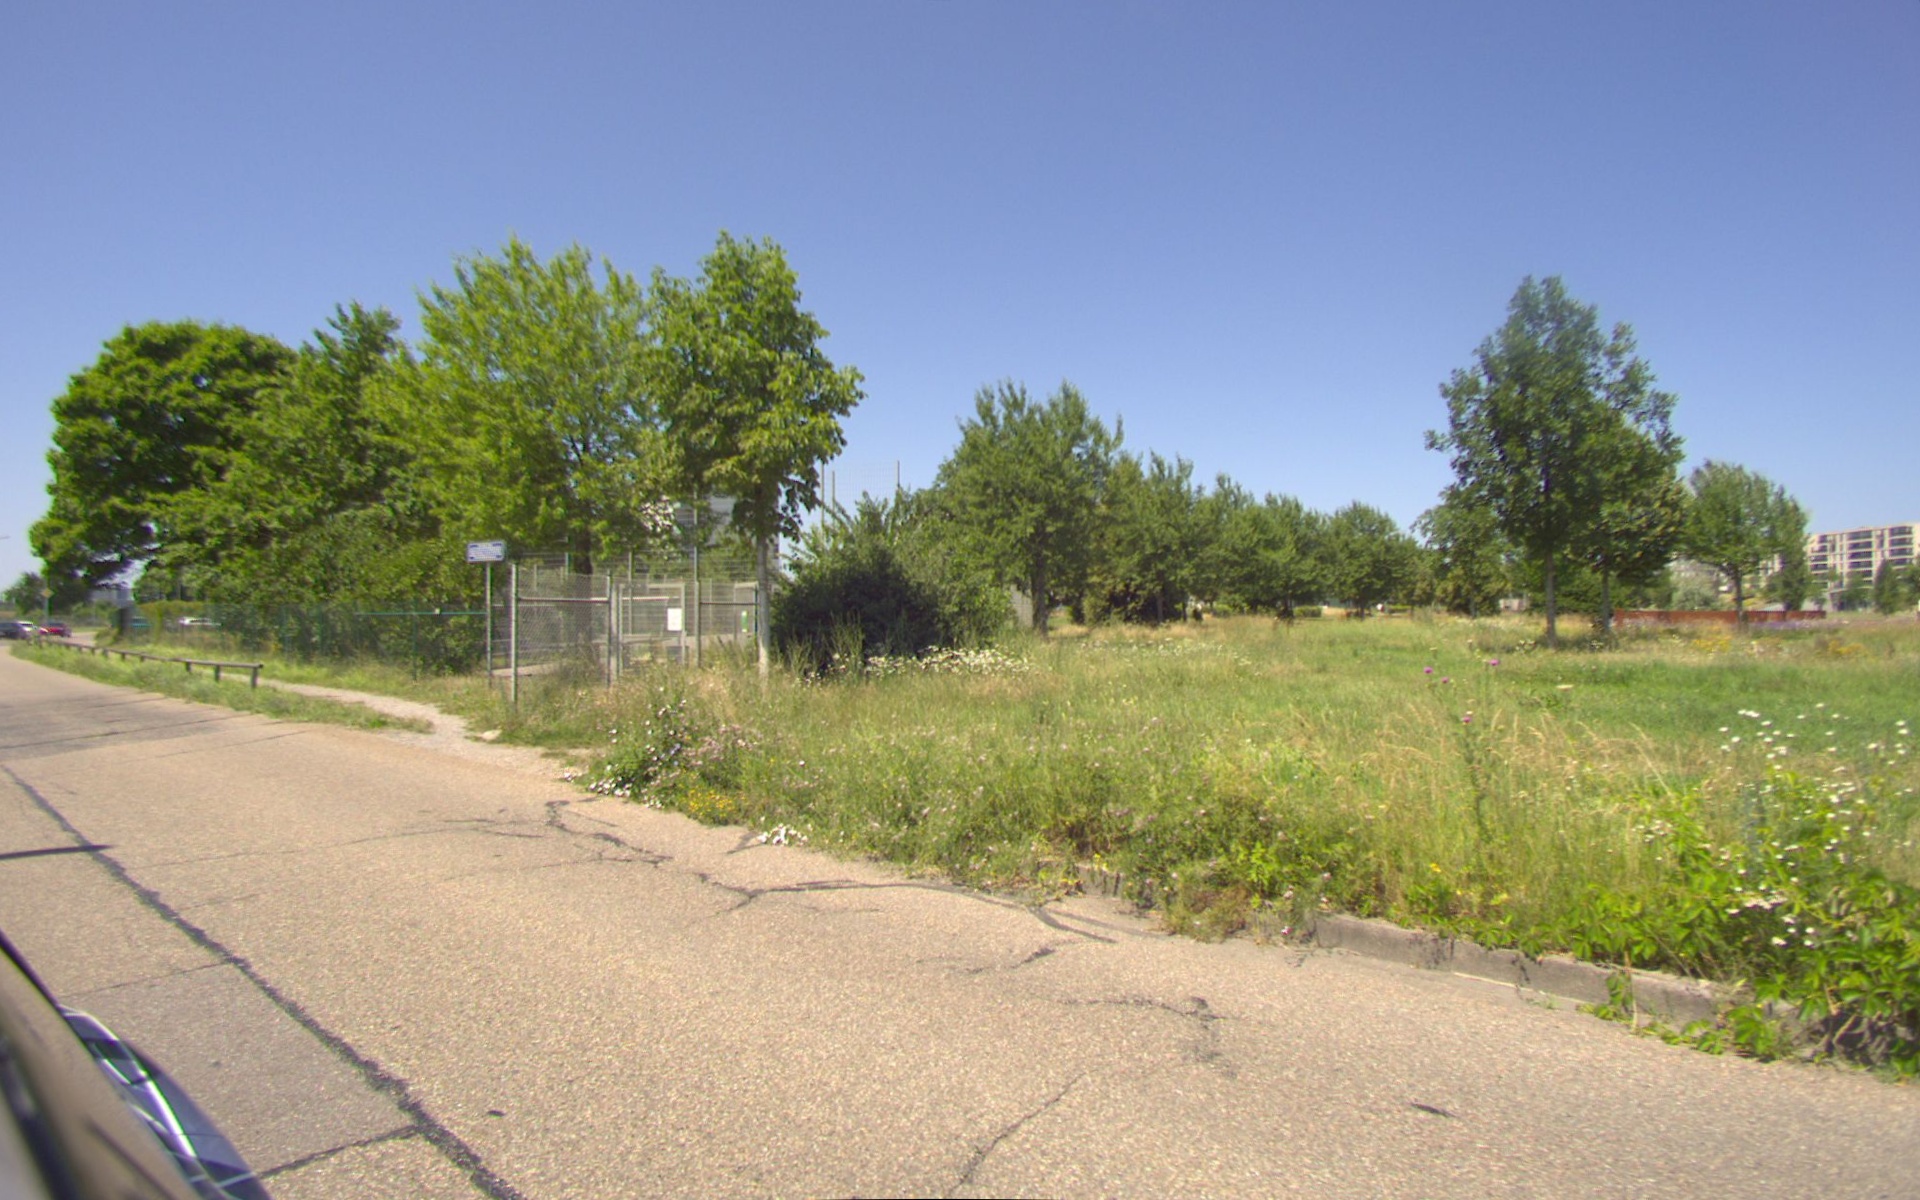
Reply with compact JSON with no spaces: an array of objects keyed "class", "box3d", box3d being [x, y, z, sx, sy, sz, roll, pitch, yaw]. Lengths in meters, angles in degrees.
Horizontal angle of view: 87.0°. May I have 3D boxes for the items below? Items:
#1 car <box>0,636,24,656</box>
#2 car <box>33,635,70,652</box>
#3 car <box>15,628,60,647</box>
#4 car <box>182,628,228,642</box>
[{"class":"car","box3d":[-74.197,3.552,78.243,1.626,1.478,3.878,0,-1,-26]},{"class":"car","box3d":[-84.045,3.997,93.658,1.626,1.478,3.878,0,-1,-28]},{"class":"car","box3d":[-76.798,3.085,84.317,1.626,1.478,3.879,0,-1,-25]},{"class":"car","box3d":[-84.557,3.897,113.344,3.931,1.564,1.629,0,-1,-28]}]
